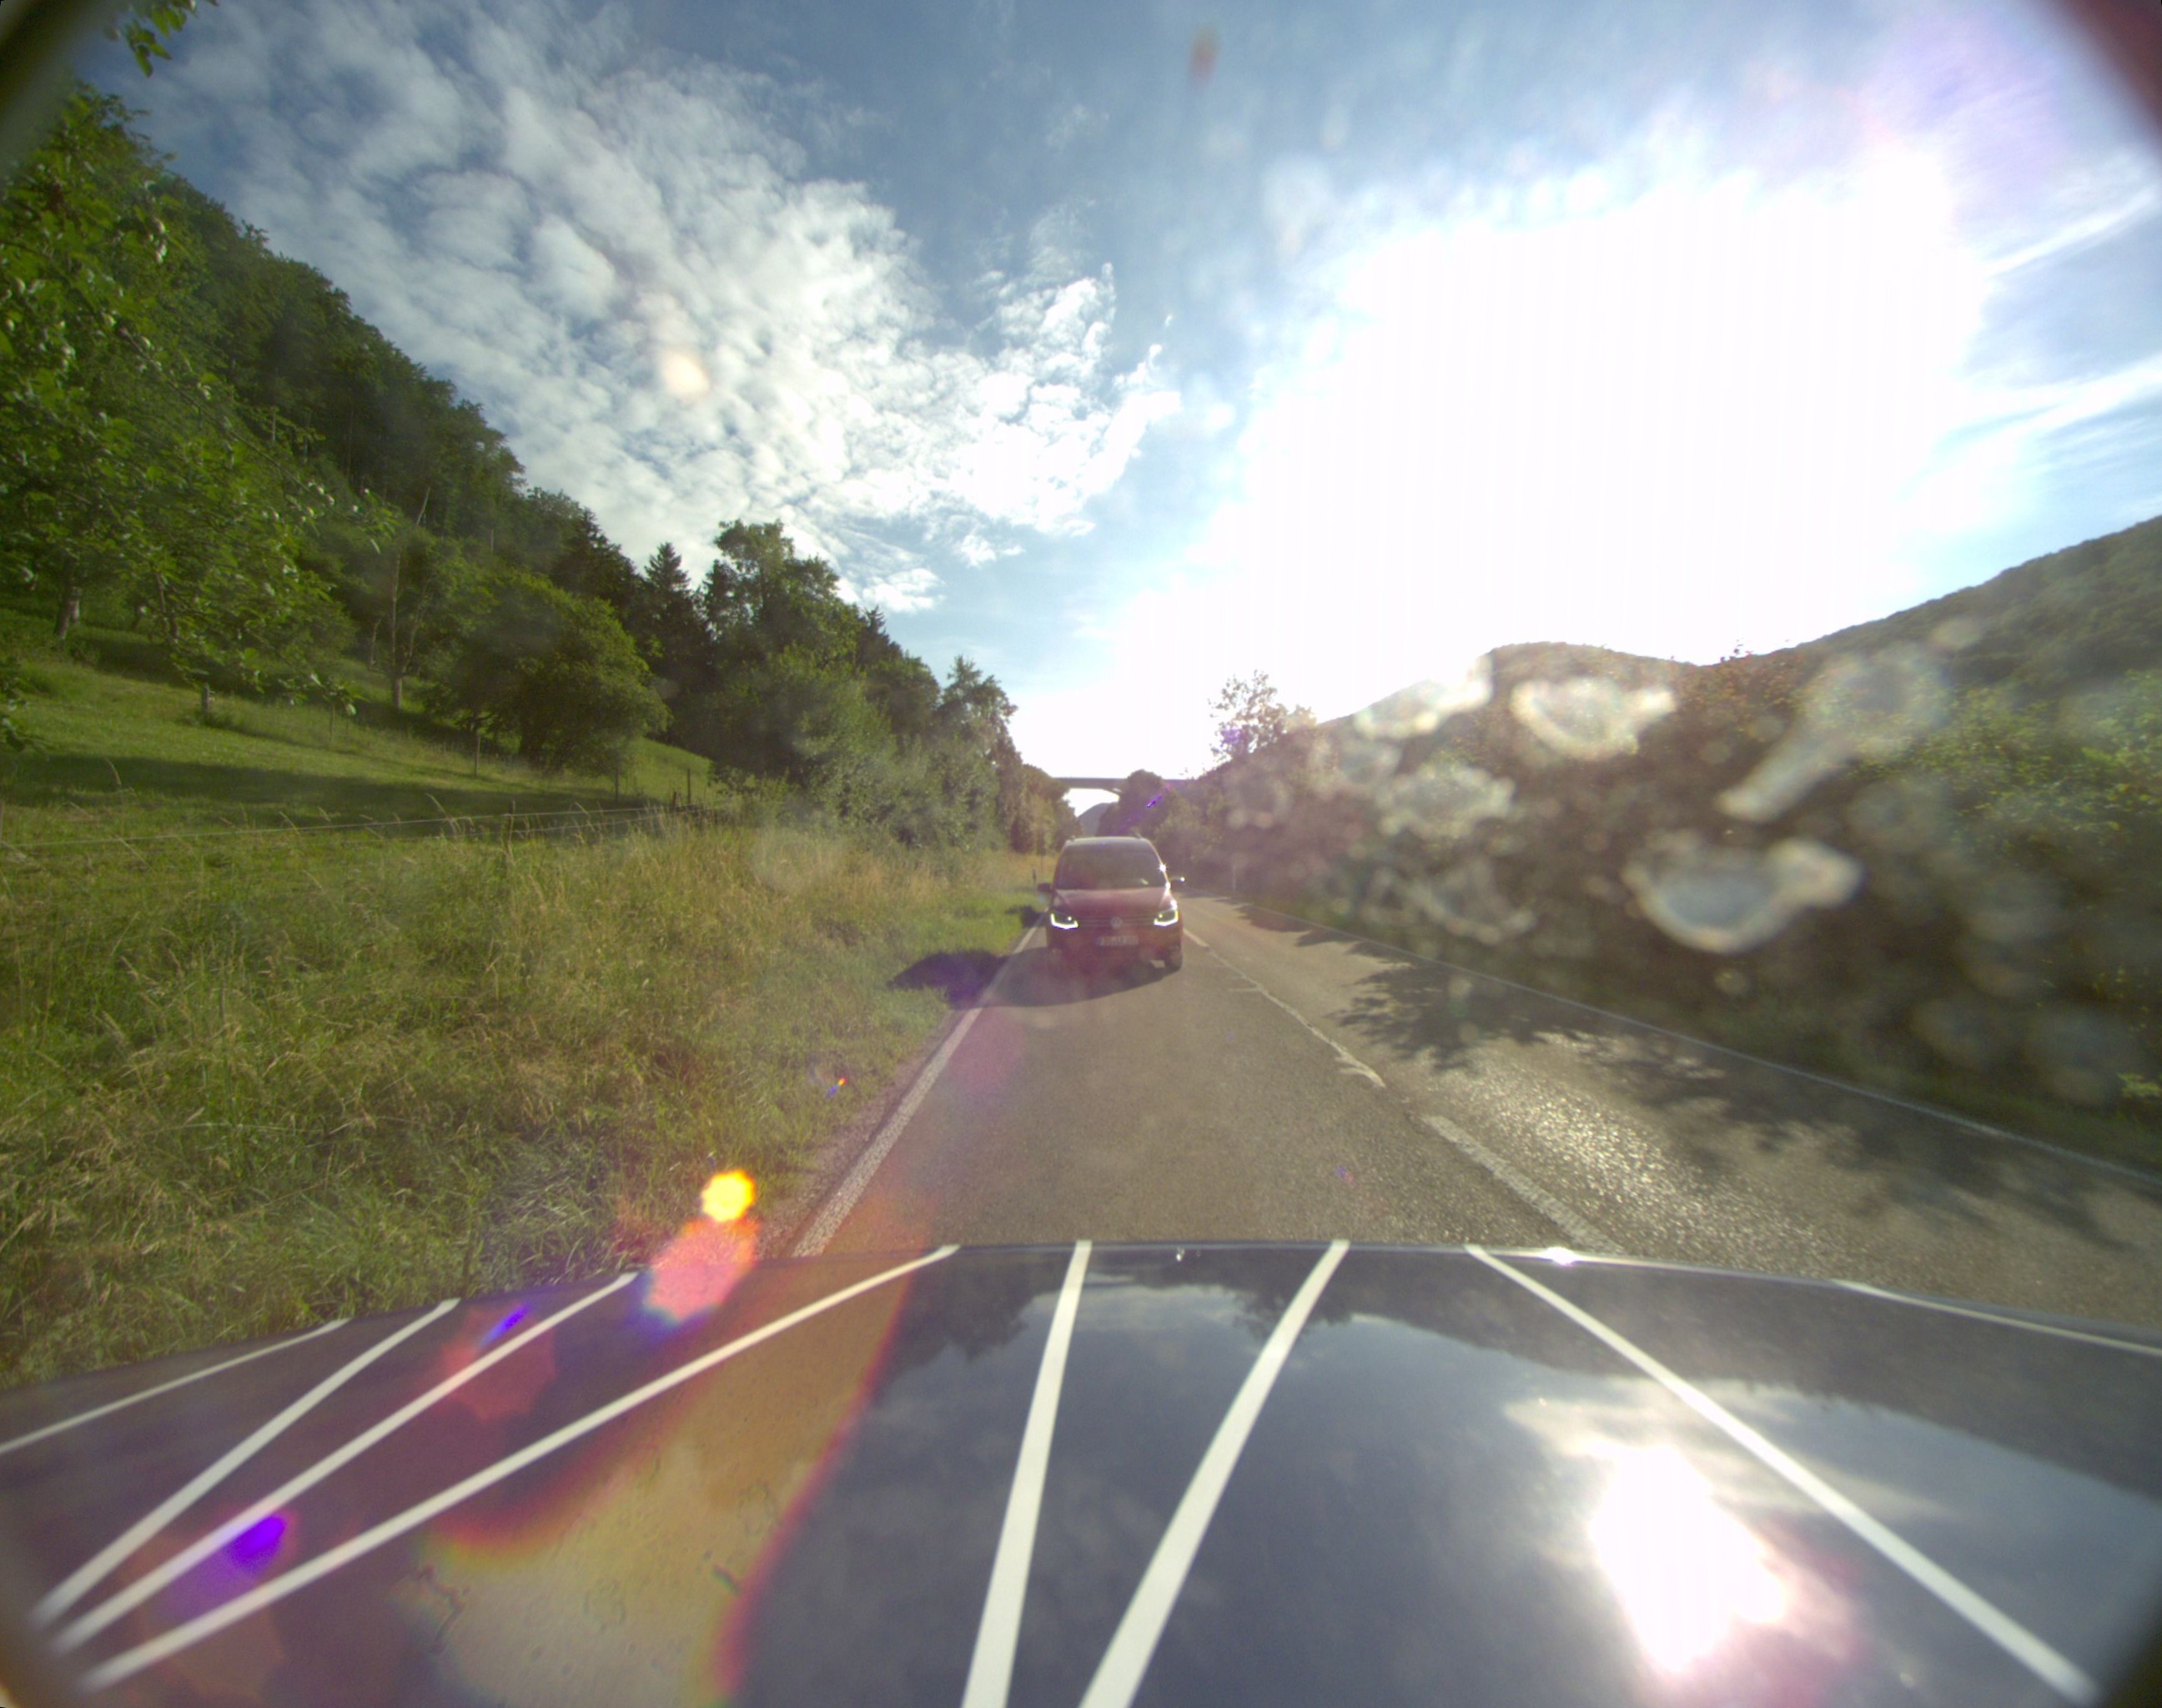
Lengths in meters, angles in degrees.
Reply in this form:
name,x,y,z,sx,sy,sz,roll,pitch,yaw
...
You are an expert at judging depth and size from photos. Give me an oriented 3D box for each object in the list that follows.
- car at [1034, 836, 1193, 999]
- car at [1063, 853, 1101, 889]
name,x,y,z,sx,sy,sz,roll,pitch,yaw
car,0.405,0.705,10.851,1.753,1.800,4.288,-2,1,1
car,0.071,0.805,38.660,1.753,1.608,4.288,-2,1,1
